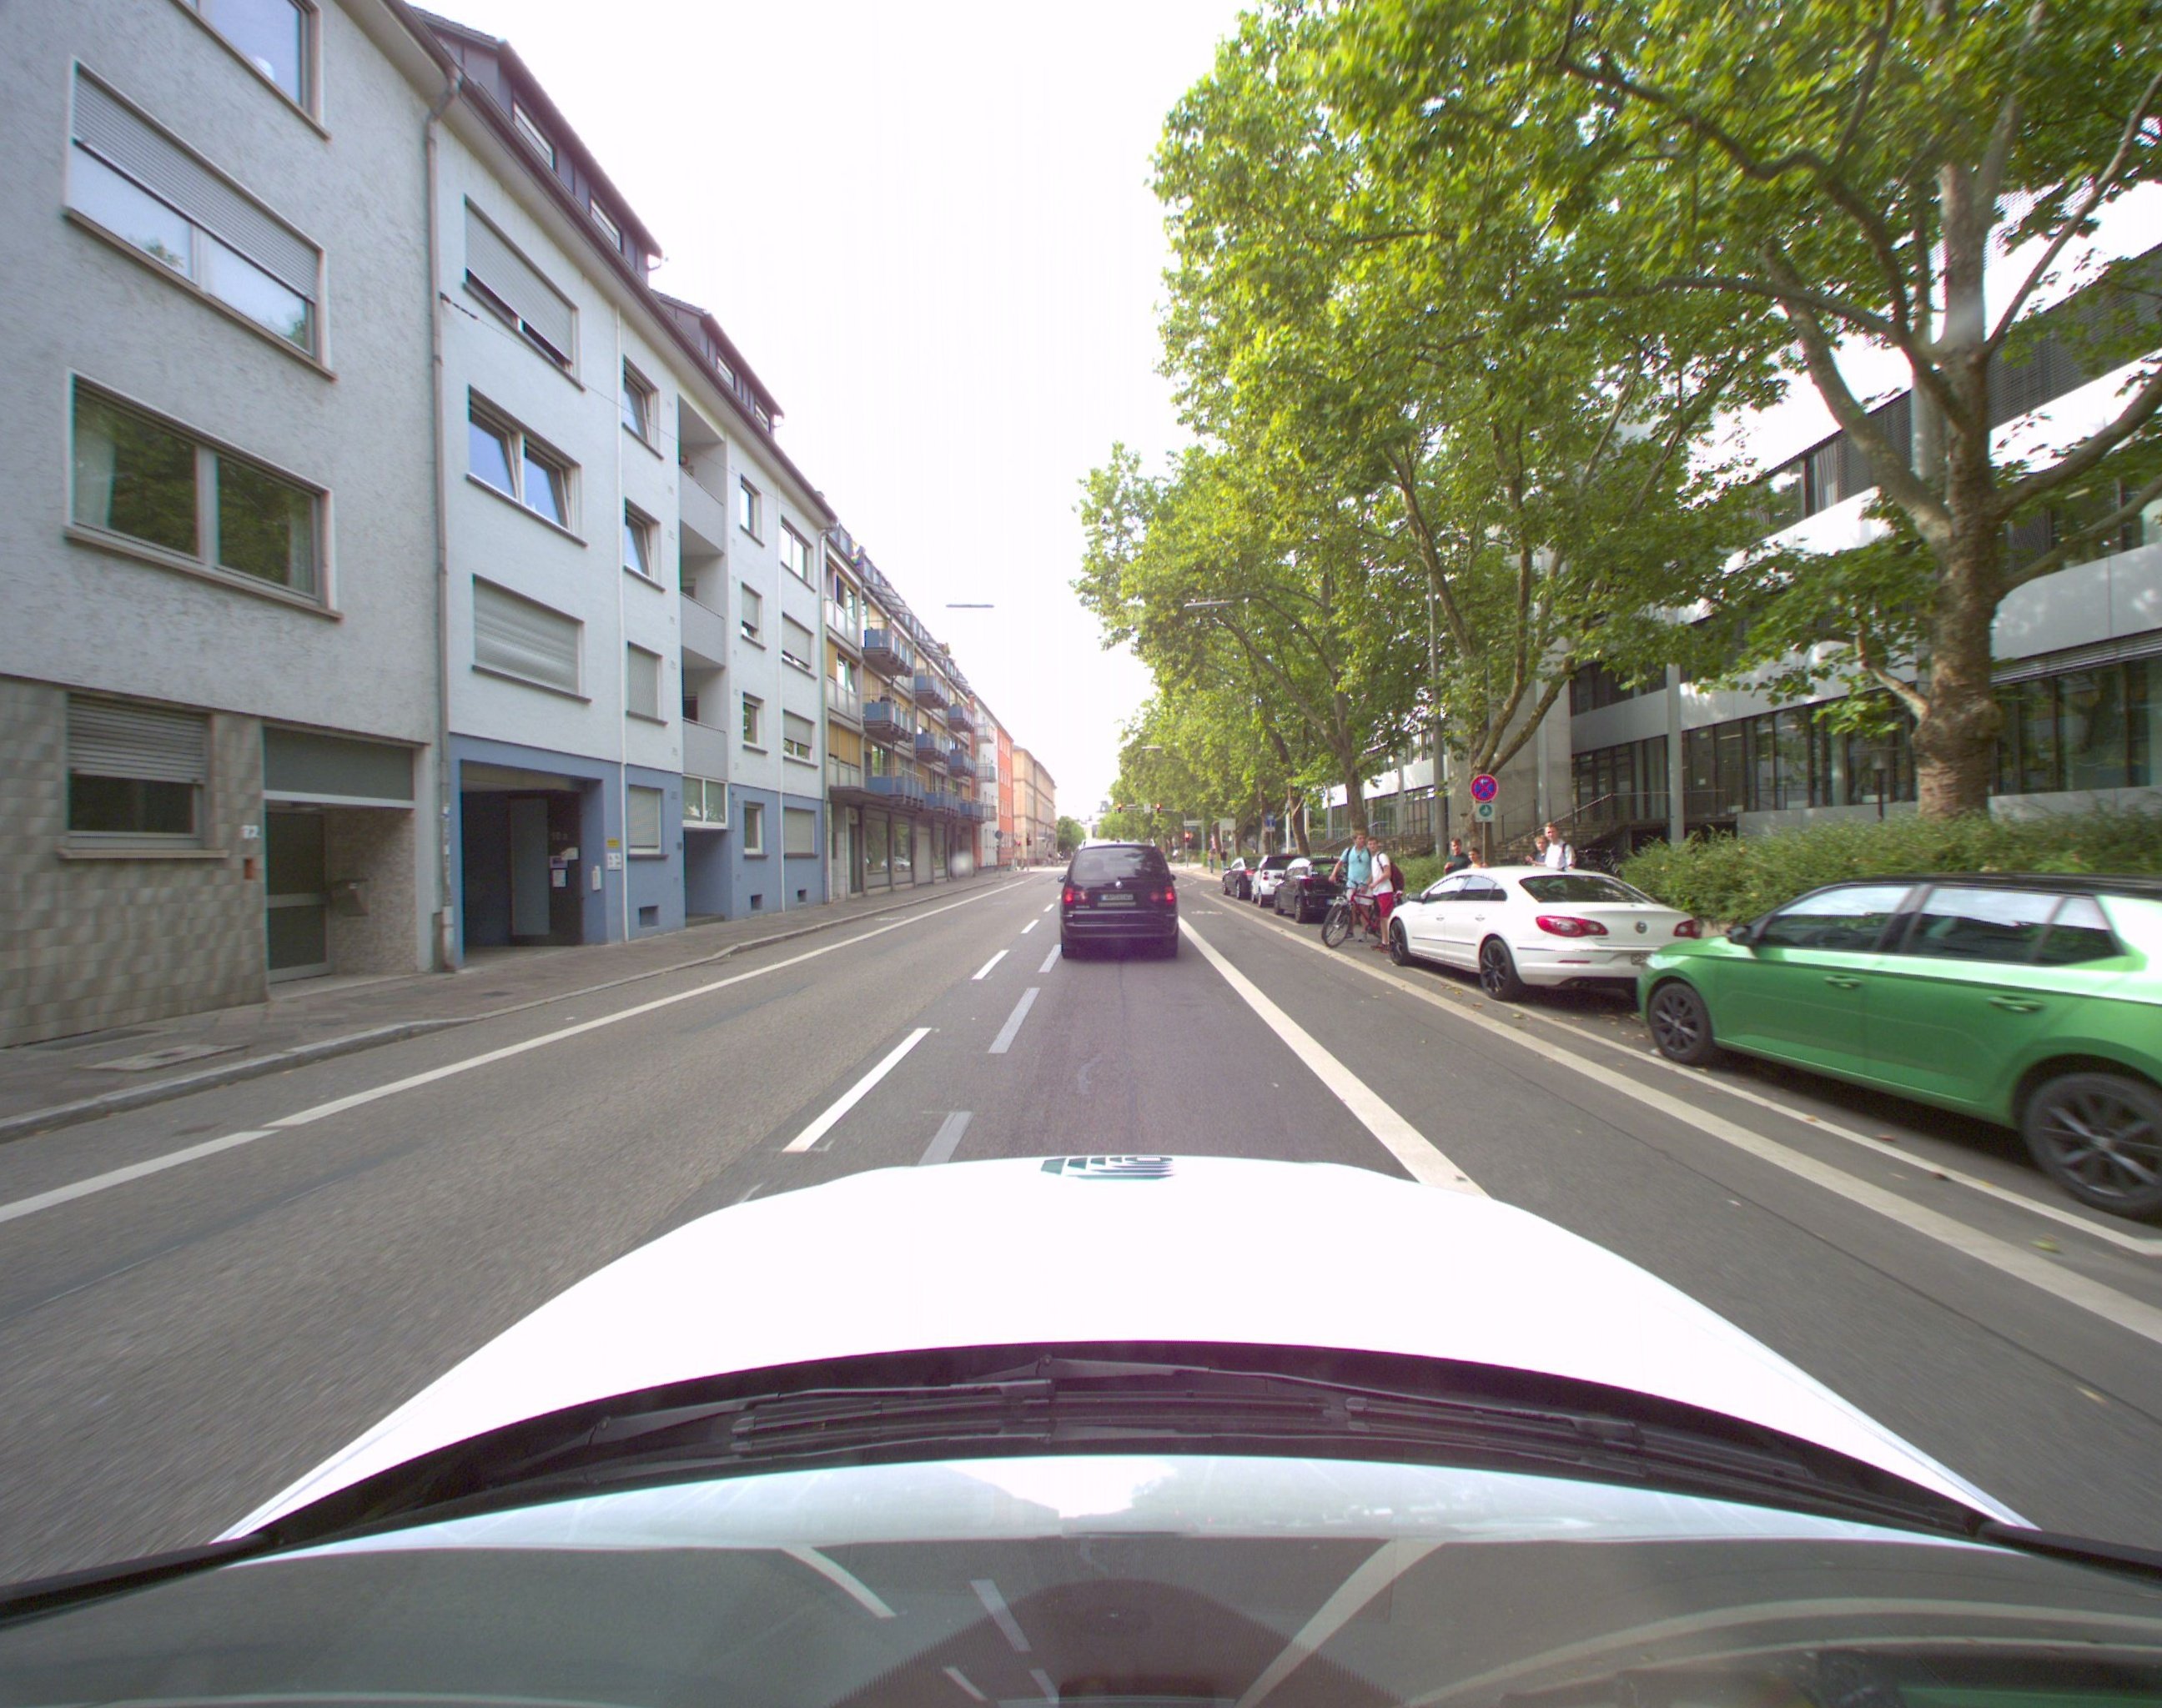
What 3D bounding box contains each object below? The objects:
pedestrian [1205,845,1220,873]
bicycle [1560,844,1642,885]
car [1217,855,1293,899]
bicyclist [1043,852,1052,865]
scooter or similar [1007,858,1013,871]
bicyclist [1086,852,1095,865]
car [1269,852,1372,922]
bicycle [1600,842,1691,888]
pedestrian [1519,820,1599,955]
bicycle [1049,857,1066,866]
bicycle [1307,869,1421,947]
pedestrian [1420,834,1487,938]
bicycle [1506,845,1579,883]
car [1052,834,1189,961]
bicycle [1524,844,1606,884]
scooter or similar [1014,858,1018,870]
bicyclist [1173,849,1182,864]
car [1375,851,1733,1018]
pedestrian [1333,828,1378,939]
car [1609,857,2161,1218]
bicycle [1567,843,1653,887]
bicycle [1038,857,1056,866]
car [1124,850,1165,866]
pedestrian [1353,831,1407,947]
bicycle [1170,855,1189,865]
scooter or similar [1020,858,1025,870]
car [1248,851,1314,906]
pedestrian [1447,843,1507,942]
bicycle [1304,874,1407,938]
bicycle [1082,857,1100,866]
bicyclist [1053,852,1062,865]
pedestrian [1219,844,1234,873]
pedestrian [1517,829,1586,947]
[{"bbox_3d":[8.492,0.342,52.751,0.708,1.783,1.034,-3,-1,1],"label":"pedestrian"},{"bbox_3d":[15.120,0.304,23.722,1.908,1.117,0.673,-2,0,1],"label":"bicycle"},{"bbox_3d":[5.961,0.744,28.411,1.692,1.425,4.421,0,0,0],"label":"car"},{"bbox_3d":[-3.707,0.518,89.293,0.914,1.466,0.568,0,0,-9],"label":"bicyclist"},{"bbox_3d":[-6.263,0.925,71.891,0.376,1.184,1.390,-1,-2,2],"label":"scooter or similar"},{"bbox_3d":[1.060,0.480,92.505,0.915,1.466,0.568,0,0,-11],"label":"bicyclist"},{"bbox_3d":[5.598,0.715,19.447,1.522,1.502,3.662,0,0,2],"label":"car"},{"bbox_3d":[14.955,0.292,21.614,1.908,1.117,0.673,-2,0,1],"label":"bicycle"},{"bbox_3d":[7.262,0.491,12.396,0.790,1.997,0.750,0,0,2],"label":"pedestrian"},{"bbox_3d":[-2.633,0.823,90.946,1.923,1.028,0.581,0,0,-8],"label":"bicycle"},{"bbox_3d":[4.710,0.871,13.554,1.792,1.217,0.550,0,0,-16],"label":"bicycle"},{"bbox_3d":[6.712,0.563,14.720,0.867,1.816,0.780,0,0,2],"label":"pedestrian"},{"bbox_3d":[14.781,0.322,26.111,1.908,1.117,0.673,-2,0,1],"label":"bicycle"},{"bbox_3d":[0.585,0.597,13.618,1.867,1.745,4.574,-1,0,1],"label":"car"},{"bbox_3d":[14.704,0.314,24.775,2.071,1.117,0.673,-2,0,1],"label":"bicycle"},{"bbox_3d":[-6.239,0.964,78.175,0.377,1.147,1.141,-1,-2,-1],"label":"scooter or similar"},{"bbox_3d":[10.137,0.231,85.316,0.854,1.567,0.576,0,-1,-6],"label":"bicyclist"},{"bbox_3d":[5.204,0.742,9.818,1.675,1.516,4.543,1,0,0],"label":"car"},{"bbox_3d":[4.905,0.516,14.587,0.474,1.934,0.742,0,0,-9],"label":"pedestrian"},{"bbox_3d":[5.174,0.764,4.849,1.582,1.449,3.805,1,0,0],"label":"car"},{"bbox_3d":[14.733,0.301,22.708,1.908,1.117,0.673,-2,0,1],"label":"bicycle"},{"bbox_3d":[-3.740,0.820,89.288,1.923,1.028,0.581,0,0,-8],"label":"bicycle"},{"bbox_3d":[6.827,0.428,87.822,4.105,1.427,1.748,-3,0,-25],"label":"car"},{"bbox_3d":[4.871,0.553,13.293,0.520,1.845,0.741,0,0,-13],"label":"pedestrian"},{"bbox_3d":[10.278,0.580,85.327,1.922,1.028,0.582,0,0,-7],"label":"bicycle"},{"bbox_3d":[-5.630,0.963,78.703,0.377,1.144,1.141,-1,-2,-1],"label":"scooter or similar"},{"bbox_3d":[5.893,0.683,24.249,1.528,1.543,2.602,0,0,5],"label":"car"},{"bbox_3d":[6.771,0.638,13.940,0.718,1.658,0.655,0,0,2],"label":"pedestrian"},{"bbox_3d":[4.994,0.933,14.854,1.734,1.105,0.550,0,0,-10],"label":"bicycle"},{"bbox_3d":[1.123,0.817,92.515,1.925,1.028,0.581,0,0,-11],"label":"bicycle"},{"bbox_3d":[-2.655,0.486,90.945,0.914,1.466,0.568,0,0,-8],"label":"bicyclist"},{"bbox_3d":[9.388,0.289,52.745,0.712,1.800,1.034,-3,-1,1],"label":"pedestrian"},{"bbox_3d":[7.597,0.539,13.176,0.718,1.855,0.704,0,0,2],"label":"pedestrian"}]
